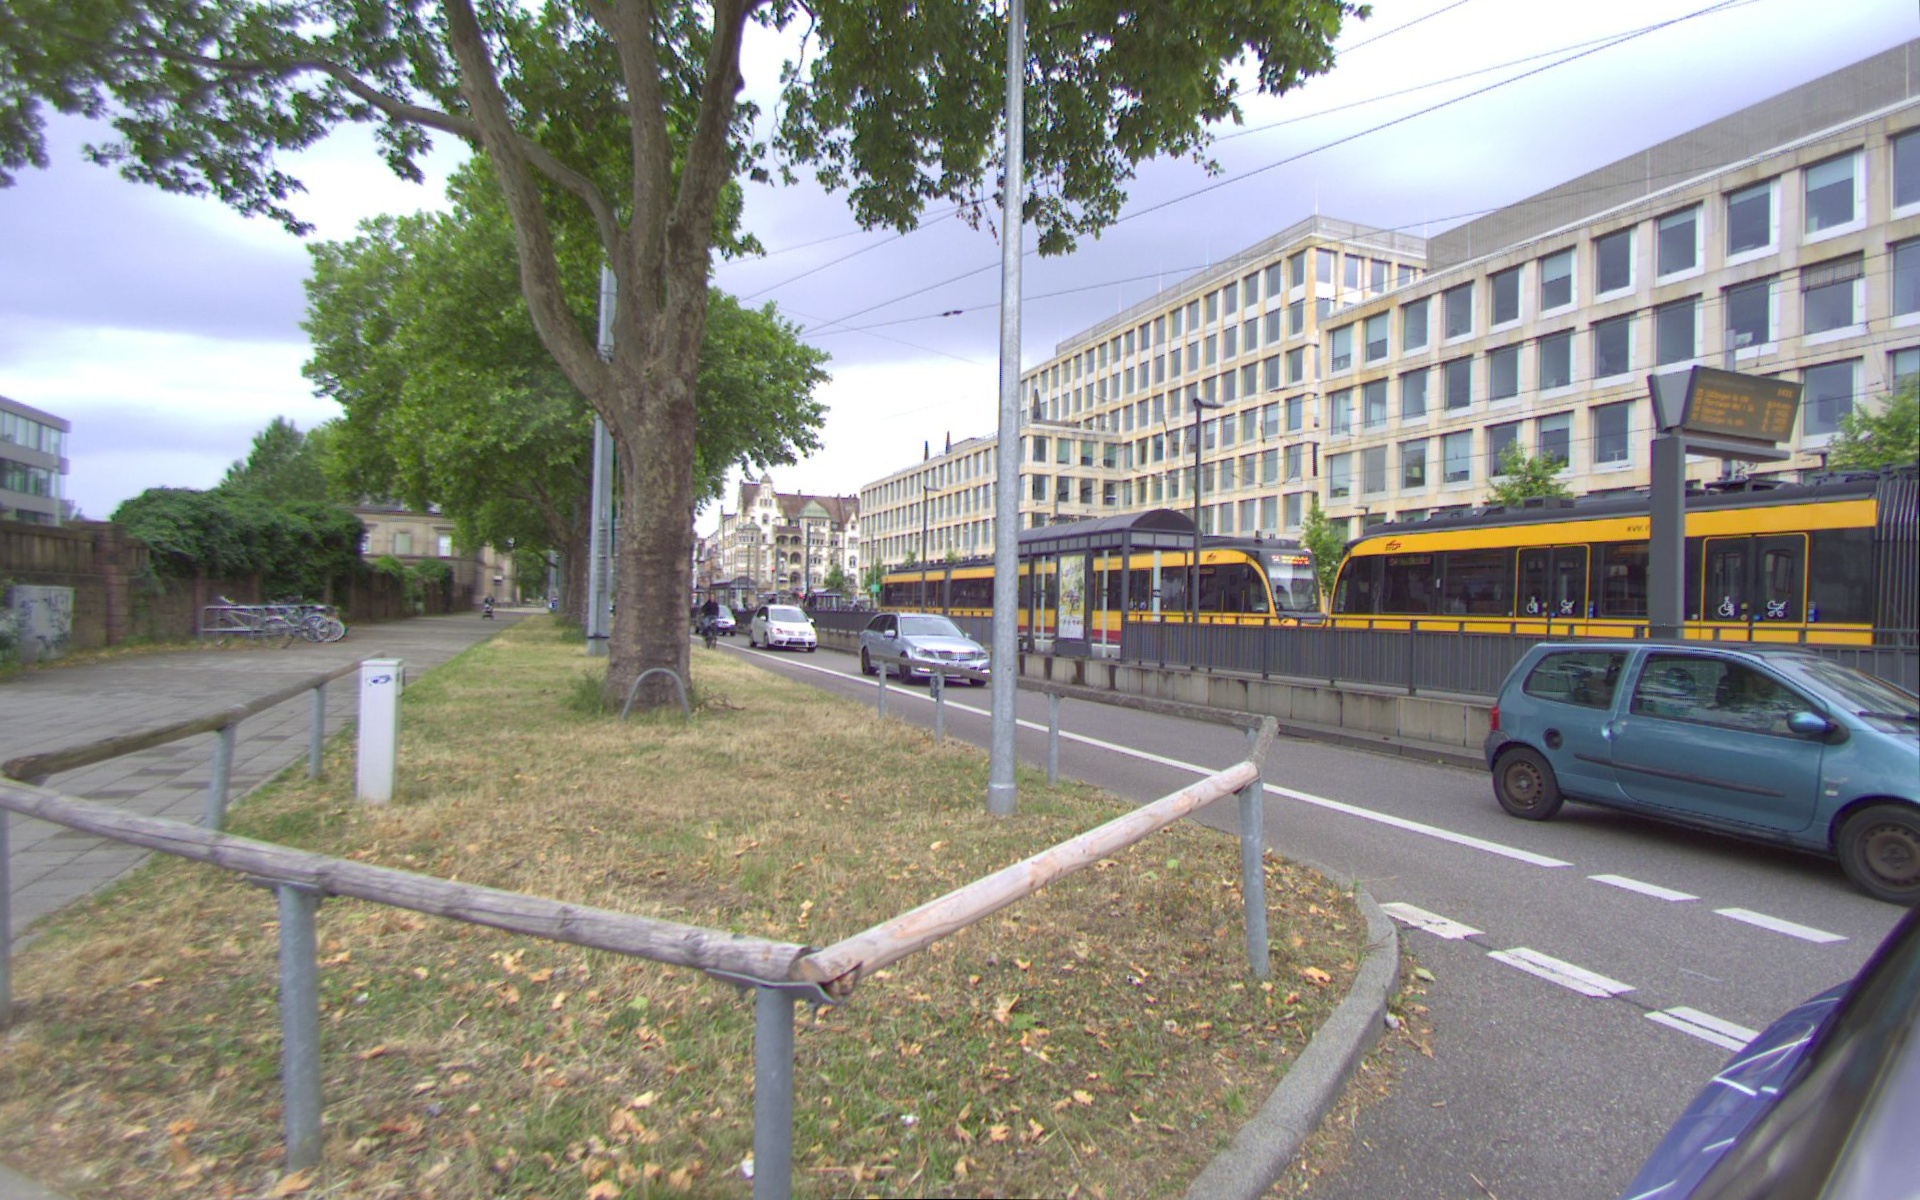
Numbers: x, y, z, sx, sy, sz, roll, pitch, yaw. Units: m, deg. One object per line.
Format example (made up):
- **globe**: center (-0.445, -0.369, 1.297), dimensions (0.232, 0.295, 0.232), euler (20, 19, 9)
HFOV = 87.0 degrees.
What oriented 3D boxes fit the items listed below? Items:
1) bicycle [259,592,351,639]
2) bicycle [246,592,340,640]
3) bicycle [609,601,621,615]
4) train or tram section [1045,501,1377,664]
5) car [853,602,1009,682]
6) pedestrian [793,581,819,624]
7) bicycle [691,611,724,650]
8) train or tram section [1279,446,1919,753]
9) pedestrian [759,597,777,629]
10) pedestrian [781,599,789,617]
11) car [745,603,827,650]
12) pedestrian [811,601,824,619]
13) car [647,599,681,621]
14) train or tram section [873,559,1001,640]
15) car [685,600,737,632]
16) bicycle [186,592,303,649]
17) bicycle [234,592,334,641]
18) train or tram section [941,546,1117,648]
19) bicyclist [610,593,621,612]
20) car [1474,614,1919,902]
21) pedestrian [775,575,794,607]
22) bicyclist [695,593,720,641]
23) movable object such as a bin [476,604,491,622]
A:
- **bicycle**: center (-16.903, 0.407, 26.155), dimensions (1.856, 1.119, 0.551), euler (3, -1, -24)
- **bicycle**: center (-16.812, 0.395, 25.558), dimensions (1.866, 1.111, 0.551), euler (3, -1, -24)
- **bicycle**: center (-30.322, 0.695, 89.001), dimensions (0.798, 1.184, 2.281), euler (2, 0, -24)
- **train or tram section**: center (7.293, -0.492, 33.198), dimensions (3.123, 4.232, 13.647), euler (2, 0, -22)
- **car**: center (-0.725, 0.829, 21.386), dimensions (1.958, 1.470, 4.108), euler (2, 0, -22)
- **pedestrian**: center (-7.601, 0.126, 49.822), dimensions (1.039, 2.039, 0.842), euler (2, -1, -22)
- **bicycle**: center (-8.217, 0.978, 32.867), dimensions (0.641, 1.164, 2.287), euler (2, 0, -24)
- **train or tram section**: center (12.496, -0.032, 19.973), dimensions (3.123, 4.232, 14.763), euler (2, 0, -22)
- **pedestrian**: center (-11.076, 0.751, 58.285), dimensions (0.658, 1.816, 1.114), euler (2, -1, -31)
- **pedestrian**: center (-18.490, 0.851, 107.033), dimensions (0.592, 1.792, 0.582), euler (1, -1, 31)
- **car**: center (-6.167, 0.881, 35.522), dimensions (1.958, 1.470, 4.108), euler (2, 0, -22)
- **pedestrian**: center (-13.619, 0.929, 96.676), dimensions (1.019, 1.707, 0.941), euler (2, -1, -19)
- **car**: center (-21.340, 0.711, 72.884), dimensions (1.958, 1.470, 4.108), euler (2, 0, -22)
- **train or tram section**: center (-1.550, -0.049, 55.372), dimensions (3.180, 3.911, 11.334), euler (2, 0, -22)
- **car**: center (-12.681, 0.784, 51.311), dimensions (1.958, 1.470, 4.108), euler (2, 0, -22)
- **bicycle**: center (-15.040, 0.433, 21.325), dimensions (1.887, 1.105, 0.551), euler (3, -1, -24)
- **bicycle**: center (-16.628, 0.405, 24.942), dimensions (1.939, 1.108, 0.551), euler (3, -1, -24)
- **train or tram section**: center (2.643, -0.133, 44.804), dimensions (3.107, 3.911, 11.334), euler (2, 0, -22)
- **bicyclist**: center (-30.362, 0.198, 89.140), dimensions (0.796, 1.621, 1.192), euler (2, -1, -24)
- **car**: center (5.466, 0.904, 6.857), dimensions (1.503, 1.491, 3.360), euler (3, -1, -21)
- **pedestrian**: center (-10.423, -0.537, 60.006), dimensions (0.659, 1.816, 1.113), euler (2, -1, -35)
- **bicyclist**: center (-8.201, 0.547, 32.866), dimensions (0.629, 1.550, 0.666), euler (2, -1, -24)
- **movable object such as a bin**: center (-28.943, 0.788, 61.462), dimensions (0.600, 1.126, 1.016), euler (2, -1, -16)
